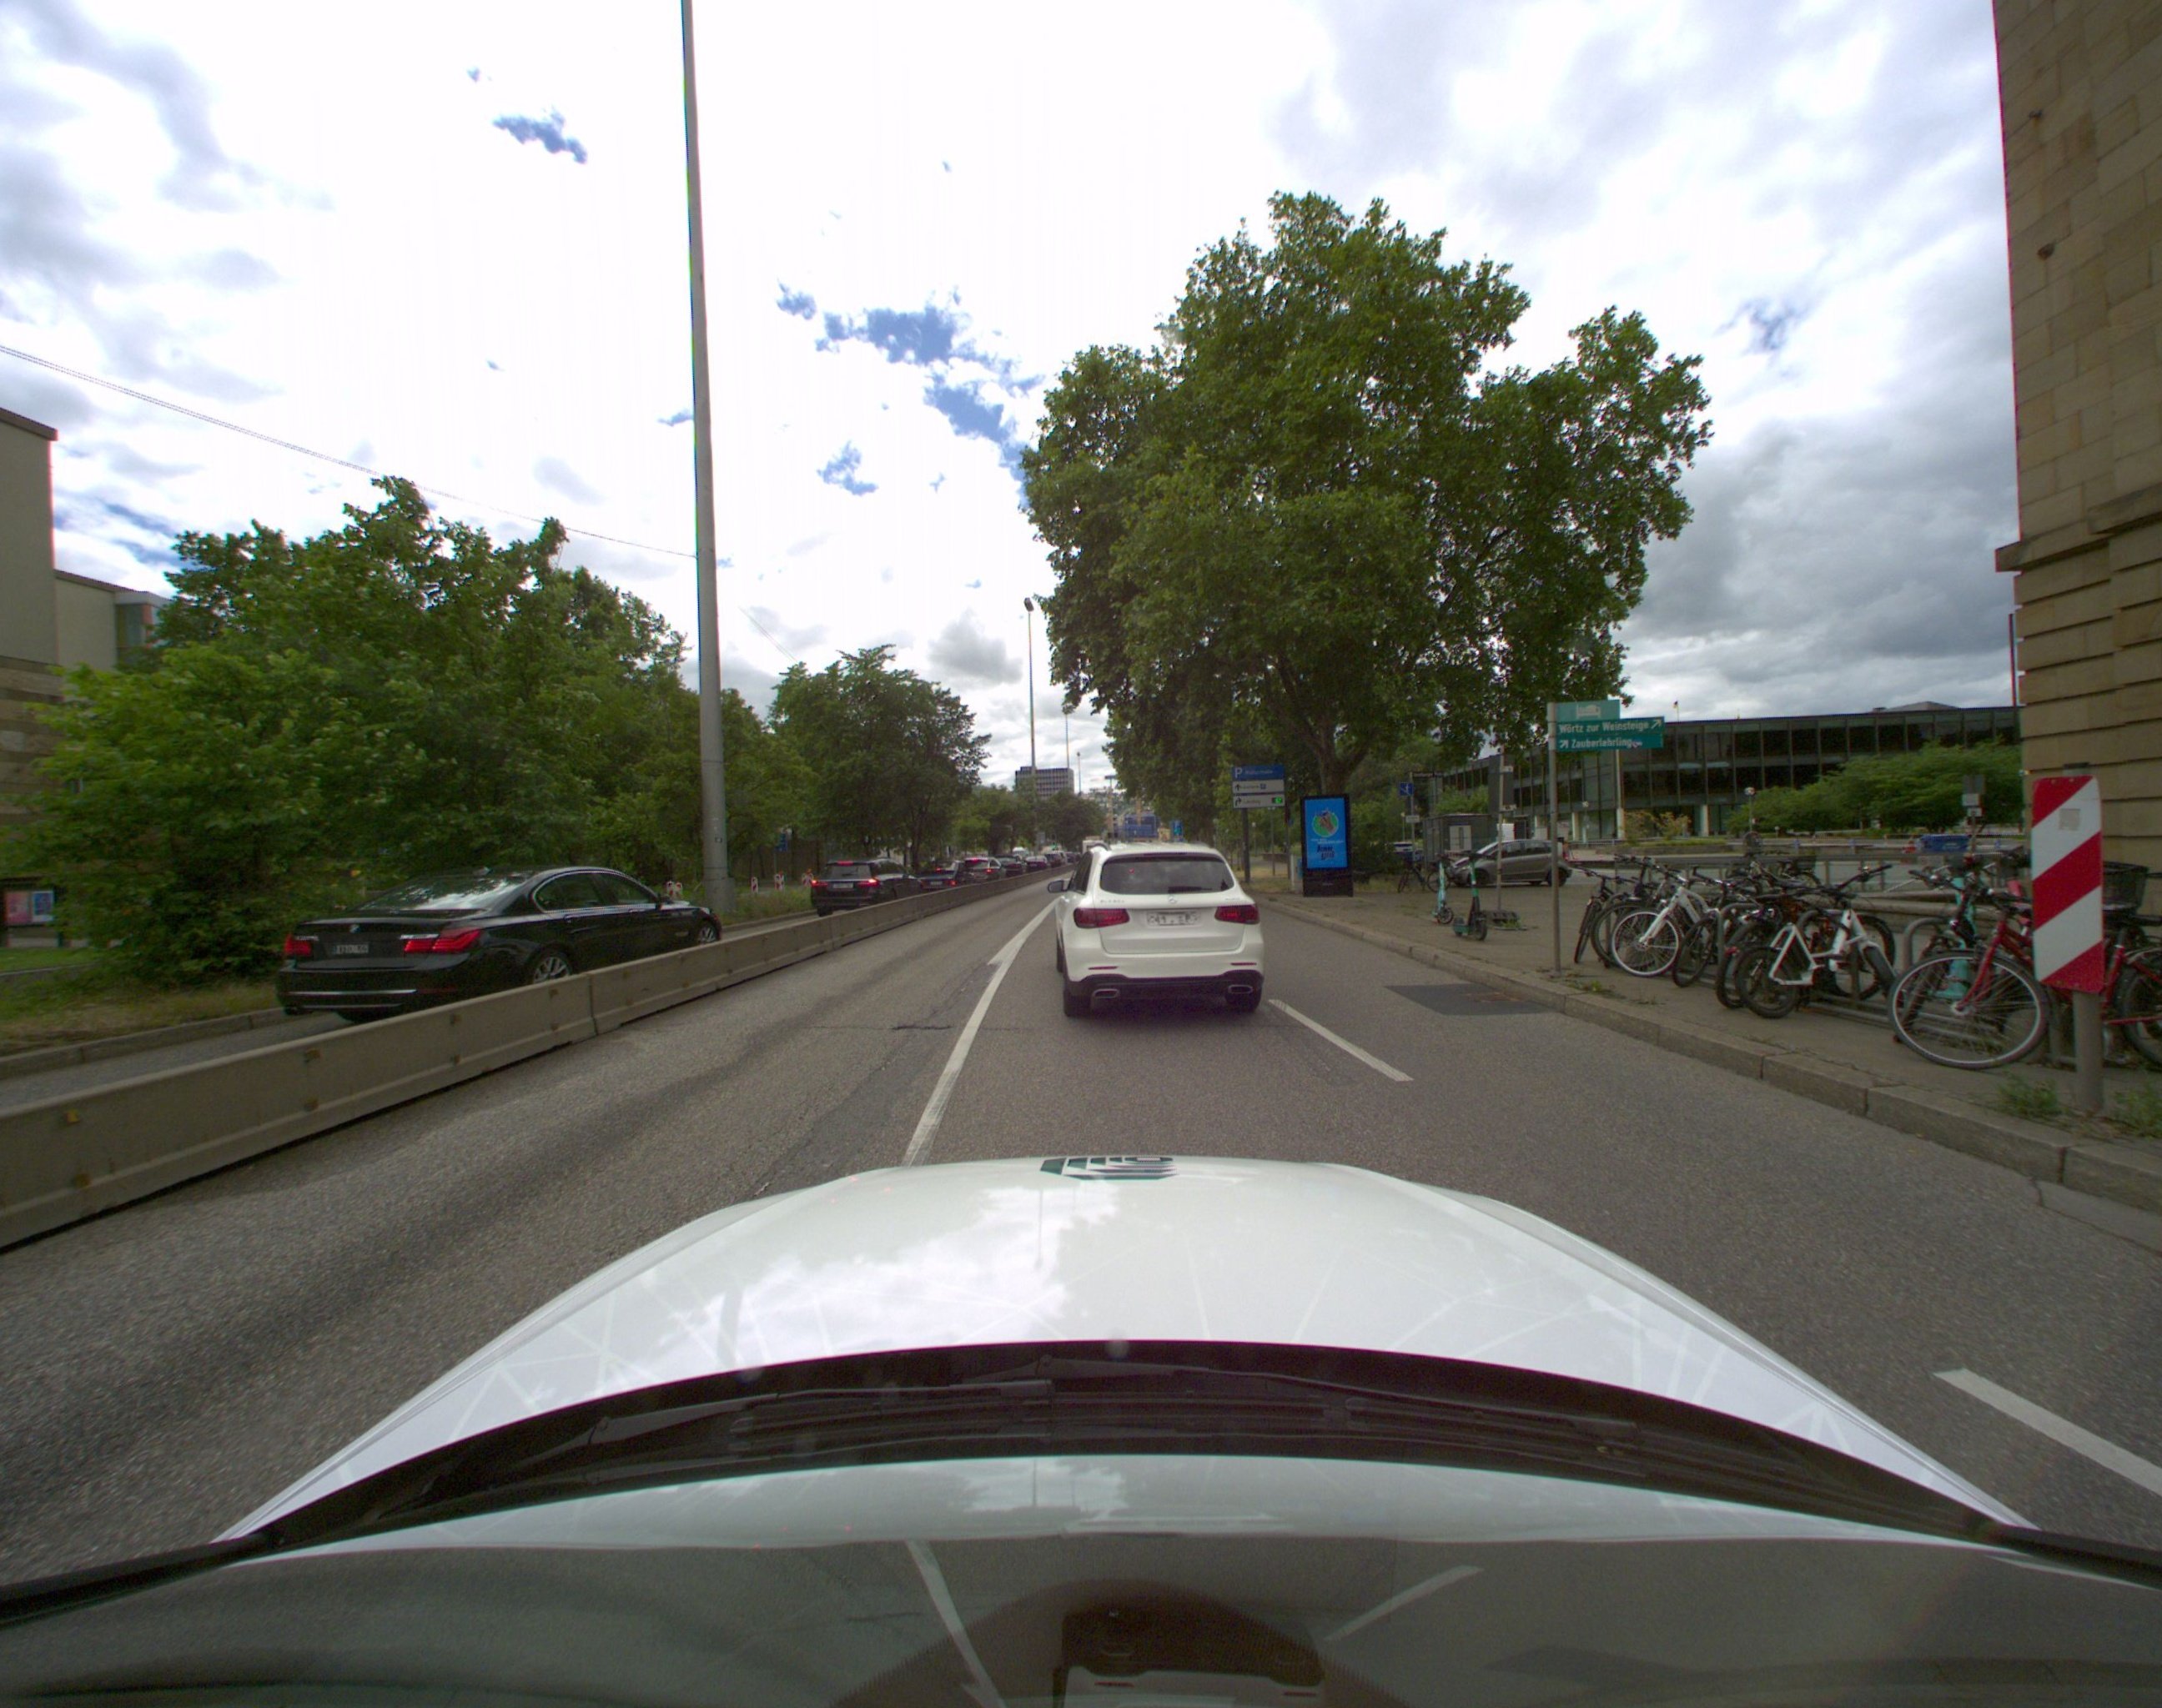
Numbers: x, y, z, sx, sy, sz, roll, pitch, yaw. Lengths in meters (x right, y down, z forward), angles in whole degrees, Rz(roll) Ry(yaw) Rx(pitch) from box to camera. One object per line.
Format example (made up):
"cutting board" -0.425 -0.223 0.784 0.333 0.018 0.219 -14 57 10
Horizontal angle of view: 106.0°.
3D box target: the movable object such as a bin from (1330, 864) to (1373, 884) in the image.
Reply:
"movable object such as a bin" 9.127 0.672 27.502 1.290 0.652 0.731 0 -1 11

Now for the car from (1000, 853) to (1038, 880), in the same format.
"car" -3.527 0.664 46.683 1.770 1.420 4.001 -2 0 1

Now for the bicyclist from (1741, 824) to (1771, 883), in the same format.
"bicyclist" 20.358 -0.004 24.570 0.435 1.748 0.474 -2 0 -5

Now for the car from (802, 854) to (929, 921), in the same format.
"car" -5.483 0.789 21.391 1.809 1.499 4.772 -2 0 3

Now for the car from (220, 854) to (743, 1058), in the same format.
"car" -5.912 0.836 9.077 1.915 1.636 4.941 -1 0 4

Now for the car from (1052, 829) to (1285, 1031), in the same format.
"car" 0.655 0.626 8.941 1.784 1.625 4.431 -1 0 -4

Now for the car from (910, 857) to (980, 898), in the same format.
"car" -5.097 0.835 31.176 1.671 1.367 4.546 -2 0 3

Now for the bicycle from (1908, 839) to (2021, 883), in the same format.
"bicycle" 22.381 0.182 20.647 2.153 1.100 0.427 -1 0 8

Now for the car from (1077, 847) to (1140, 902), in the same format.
"car" 0.804 0.627 26.224 1.791 1.608 3.752 -1 0 -1

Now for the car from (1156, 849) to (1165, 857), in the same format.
"car" 17.686 -0.286 181.531 1.751 1.669 4.172 -2 0 3

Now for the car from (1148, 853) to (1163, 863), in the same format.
"car" 10.452 0.522 114.666 1.938 1.319 4.021 -1 0 4

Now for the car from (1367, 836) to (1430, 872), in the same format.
"car" 15.593 -0.060 40.148 1.752 1.551 4.032 -2 2 4

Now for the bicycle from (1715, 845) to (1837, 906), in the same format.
"bicycle" 13.744 0.418 16.127 2.003 1.125 0.389 -2 -1 2

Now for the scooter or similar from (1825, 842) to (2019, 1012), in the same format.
"scooter or similar" 6.670 0.530 6.538 0.422 1.224 1.317 0 -1 13

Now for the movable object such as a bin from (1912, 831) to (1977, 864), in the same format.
"movable object such as a bin" 35.635 -0.275 33.617 1.402 1.303 1.154 -2 0 5

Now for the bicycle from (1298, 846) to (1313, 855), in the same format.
"bicycle" 24.176 -0.380 87.743 0.950 0.975 2.789 0 0 3

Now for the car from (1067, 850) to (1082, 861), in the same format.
"car" -0.781 0.162 105.939 1.651 1.319 3.551 -1 0 4

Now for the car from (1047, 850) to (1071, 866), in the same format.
"car" -1.974 0.359 73.159 1.651 1.319 3.553 -1 0 6

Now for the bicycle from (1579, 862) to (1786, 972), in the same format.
"bicycle" 6.221 0.634 8.492 1.715 1.091 0.382 -1 0 15

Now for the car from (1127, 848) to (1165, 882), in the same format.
"car" 3.248 0.543 41.439 1.653 1.639 3.547 -1 0 0

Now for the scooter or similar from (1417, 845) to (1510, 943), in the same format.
"scooter or similar" 5.558 0.554 11.910 0.723 1.331 1.414 -1 0 2

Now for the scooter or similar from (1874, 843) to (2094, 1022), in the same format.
"scooter or similar" 7.032 0.562 6.416 0.559 1.278 1.151 -1 0 9

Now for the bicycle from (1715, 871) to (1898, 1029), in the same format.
"bicycle" 5.845 0.718 6.544 1.616 1.130 0.466 -1 0 -24

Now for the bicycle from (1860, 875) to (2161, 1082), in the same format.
"bicycle" 5.657 0.671 4.640 1.648 1.074 0.588 -1 0 22

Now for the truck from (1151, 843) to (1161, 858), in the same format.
"truck" 21.884 -1.014 237.748 2.864 4.103 6.645 0 0 4

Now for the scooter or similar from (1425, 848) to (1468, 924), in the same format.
"scooter or similar" 6.438 0.540 14.397 0.428 1.280 1.439 -1 0 14

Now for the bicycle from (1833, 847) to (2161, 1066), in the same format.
"bicycle" 5.835 0.595 5.119 1.529 1.257 0.546 -1 0 21

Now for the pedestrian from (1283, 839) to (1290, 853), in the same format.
"pedestrian" 24.209 -0.894 95.924 0.634 1.610 0.665 -2 0 11

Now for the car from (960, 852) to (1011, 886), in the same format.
"car" -4.340 0.658 37.603 1.654 1.436 3.963 -1 0 3

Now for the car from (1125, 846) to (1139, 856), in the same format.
"car" 7.360 -0.404 116.580 1.938 1.319 4.021 -1 0 4

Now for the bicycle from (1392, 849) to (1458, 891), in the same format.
"bicycle" 10.441 0.489 24.751 1.776 1.221 0.493 -2 0 5

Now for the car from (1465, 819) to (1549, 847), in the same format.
"car" 37.400 -1.817 71.644 6.079 2.260 2.405 -2 0 4

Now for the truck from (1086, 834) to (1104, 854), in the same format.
"truck" 2.159 -1.467 123.682 2.681 2.992 5.641 0 0 2

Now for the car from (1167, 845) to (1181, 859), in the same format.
"car" 13.791 -0.266 120.908 1.984 2.013 4.005 -1 0 4

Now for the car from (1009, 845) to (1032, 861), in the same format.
"car" -7.643 -0.135 103.164 2.107 1.969 5.583 -2 0 3

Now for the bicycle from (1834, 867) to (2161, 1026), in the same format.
"bicycle" 6.321 0.610 5.676 1.552 1.028 0.437 -1 0 13

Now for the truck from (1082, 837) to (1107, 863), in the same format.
"truck" 1.603 -0.469 92.088 2.610 2.861 7.083 -1 0 2

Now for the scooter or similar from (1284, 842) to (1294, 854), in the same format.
"scooter or similar" 20.931 -0.597 82.018 0.632 1.245 2.229 0 0 6

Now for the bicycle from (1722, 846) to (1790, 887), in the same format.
"bicycle" 20.090 0.367 24.241 1.746 1.131 0.443 -2 0 -6

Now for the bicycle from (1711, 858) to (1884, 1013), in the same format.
"bicycle" 5.801 0.607 6.575 1.616 1.130 0.405 -1 0 -24

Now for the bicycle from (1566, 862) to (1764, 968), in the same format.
"bicycle" 6.346 0.646 8.921 1.715 1.091 0.427 -1 0 15

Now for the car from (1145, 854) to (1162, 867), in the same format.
"car" 8.404 0.779 94.672 1.938 1.428 4.021 -1 0 4

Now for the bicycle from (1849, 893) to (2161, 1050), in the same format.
"bicycle" 6.340 0.744 5.387 1.713 0.917 0.617 -2 0 21

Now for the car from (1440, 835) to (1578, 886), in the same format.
"car" 14.559 0.220 27.840 3.820 1.568 1.680 -2 0 3

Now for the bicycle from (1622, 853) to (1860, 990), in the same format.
"bicycle" 6.150 0.608 7.638 1.752 1.209 0.604 -1 0 -1

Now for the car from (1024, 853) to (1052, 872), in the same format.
"car" -3.139 0.620 59.828 1.652 1.319 3.551 -1 0 3

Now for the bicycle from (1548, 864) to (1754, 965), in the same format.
"bicycle" 6.580 0.677 9.500 1.843 1.091 0.668 -1 0 15

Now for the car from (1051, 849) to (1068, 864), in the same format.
"car" -2.196 0.257 84.142 1.654 1.513 3.546 -2 -1 -1

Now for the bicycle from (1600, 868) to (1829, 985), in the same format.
"bicycle" 6.234 0.692 8.093 1.717 1.091 0.576 -1 0 11
